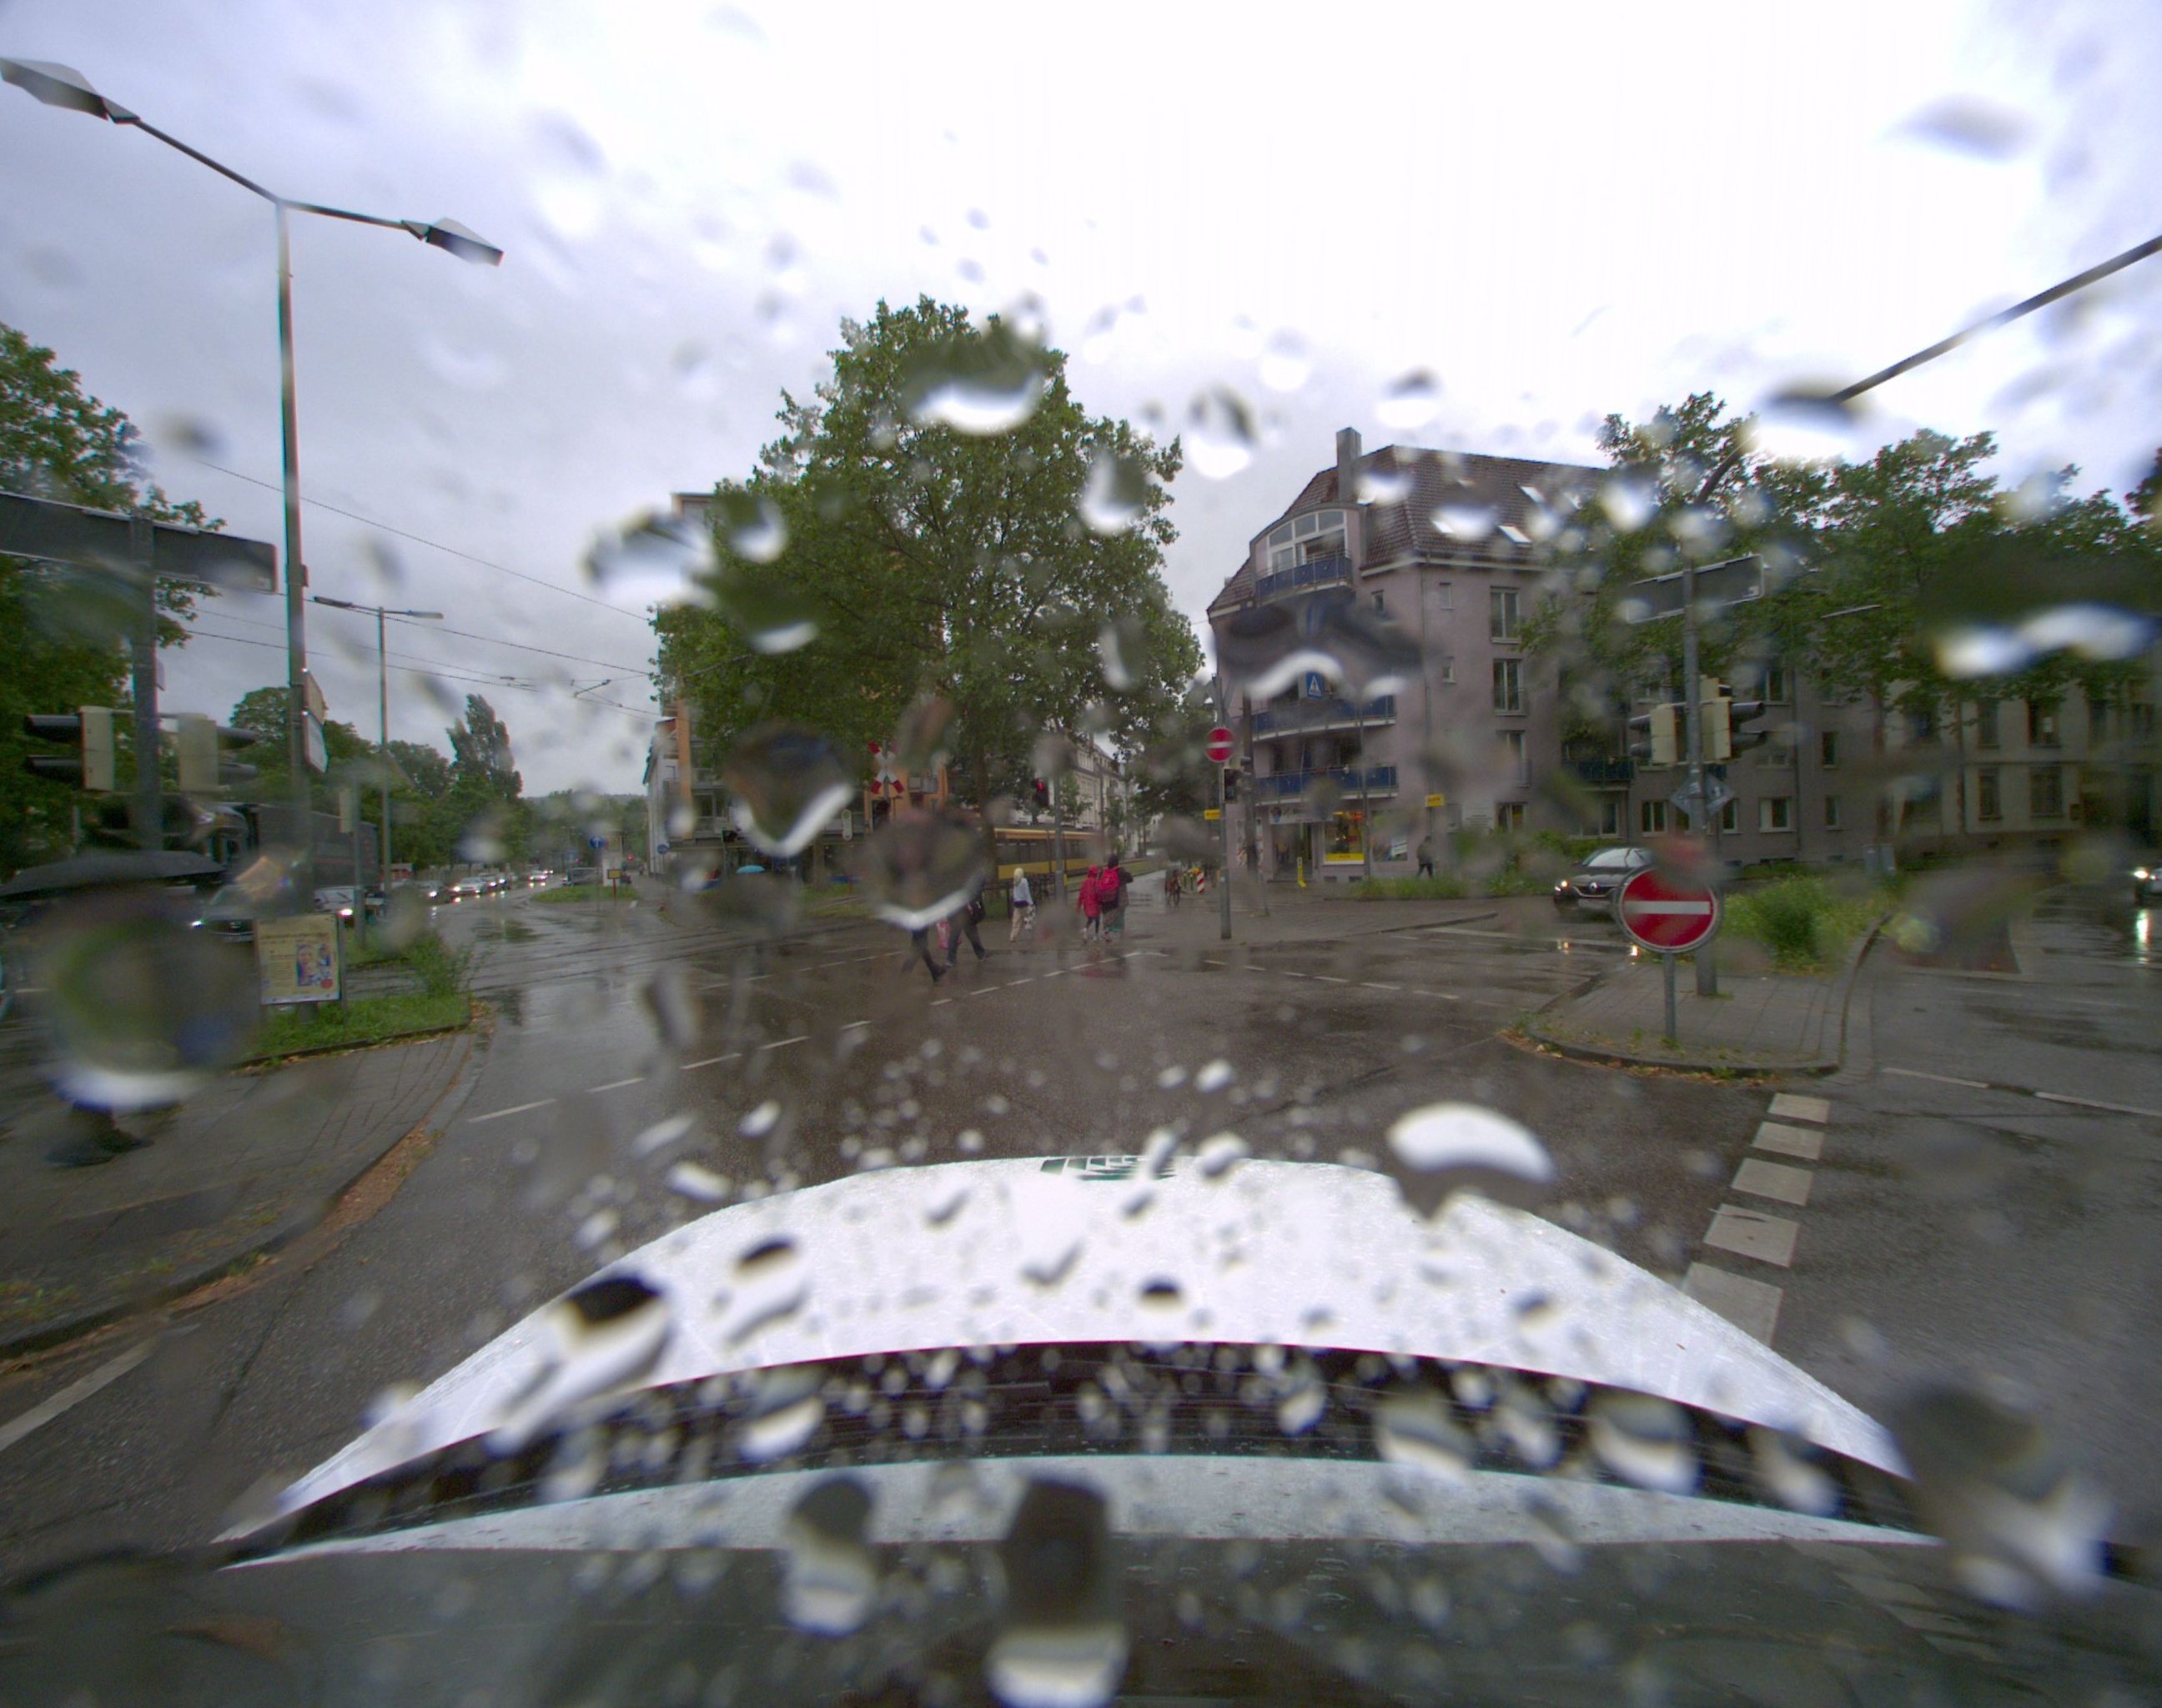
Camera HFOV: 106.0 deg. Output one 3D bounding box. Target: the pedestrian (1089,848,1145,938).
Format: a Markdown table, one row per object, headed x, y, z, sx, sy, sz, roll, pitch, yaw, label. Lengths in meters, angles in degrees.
| x | y | z | sx | sy | sz | roll | pitch | yaw | label |
| --- | --- | --- | --- | --- | --- | --- | --- | --- | --- |
| 0.652 | 0.693 | 14.702 | 0.684 | 1.547 | 0.766 | -2 | 1 | 27 | pedestrian |

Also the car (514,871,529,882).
| x | y | z | sx | sy | sz | roll | pitch | yaw | label |
| --- | --- | --- | --- | --- | --- | --- | --- | --- | --- |
| -85.758 | 3.420 | 124.847 | 1.789 | 1.530 | 3.956 | -1 | 1 | -37 | car |

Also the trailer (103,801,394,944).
| x | y | z | sx | sy | sz | roll | pitch | yaw | label |
| --- | --- | --- | --- | --- | --- | --- | --- | --- | --- |
| -29.841 | 0.536 | 30.481 | 3.464 | 4.048 | 14.906 | -3 | 1 | -30 | trailer |

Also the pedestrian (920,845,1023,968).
| x | y | z | sx | sy | sz | roll | pitch | yaw | label |
| --- | --- | --- | --- | --- | --- | --- | --- | --- | --- |
| -1.617 | 0.736 | 12.061 | 0.983 | 1.686 | 1.062 | -2 | 1 | 43 | pedestrian |

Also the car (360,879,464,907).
| x | y | z | sx | sy | sz | roll | pitch | yaw | label |
| --- | --- | --- | --- | --- | --- | --- | --- | --- | --- |
| -42.373 | 2.446 | 51.661 | 4.893 | 1.454 | 2.087 | -2 | 1 | 2 | car |

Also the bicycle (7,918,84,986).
| x | y | z | sx | sy | sz | roll | pitch | yaw | label |
| --- | --- | --- | --- | --- | --- | --- | --- | --- | --- |
| -18.367 | 1.714 | 14.478 | 0.536 | 1.024 | 1.851 | -3 | 1 | -43 | bicycle |

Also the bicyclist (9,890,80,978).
| x | y | z | sx | sy | sz | roll | pitch | yaw | label |
| --- | --- | --- | --- | --- | --- | --- | --- | --- | --- |
| -18.361 | 1.389 | 14.441 | 0.584 | 1.461 | 0.999 | -3 | 1 | -43 | bicyclist |

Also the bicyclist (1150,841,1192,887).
| x | y | z | sx | sy | sz | roll | pitch | yaw | label |
| --- | --- | --- | --- | --- | --- | --- | --- | --- | --- |
| 2.715 | 0.295 | 24.689 | 0.744 | 1.309 | 1.067 | -3 | 1 | -28 | bicyclist |

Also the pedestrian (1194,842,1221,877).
| x | y | z | sx | sy | sz | roll | pitch | yaw | label |
| --- | --- | --- | --- | --- | --- | --- | --- | --- | --- |
| 6.379 | 0.259 | 41.058 | 0.943 | 1.697 | 0.927 | -2 | 1 | 35 | pedestrian |

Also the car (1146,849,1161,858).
| x | y | z | sx | sy | sz | roll | pitch | yaw | label |
| --- | --- | --- | --- | --- | --- | --- | --- | --- | --- |
| 10.875 | -0.087 | 121.760 | 1.981 | 1.397 | 4.011 | -2 | 0 | 10 | car |

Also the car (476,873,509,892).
| x | y | z | sx | sy | sz | roll | pitch | yaw | label |
| --- | --- | --- | --- | --- | --- | --- | --- | --- | --- |
| -55.364 | 2.625 | 76.702 | 1.925 | 1.639 | 4.777 | -1 | 0 | -28 | car |

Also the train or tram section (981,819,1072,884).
| x | y | z | sx | sy | sz | roll | pitch | yaw | label |
| --- | --- | --- | --- | --- | --- | --- | --- | --- | --- |
| -2.927 | -0.154 | 46.849 | 2.618 | 3.351 | 8.409 | -2 | 0 | 14 | train or tram section |

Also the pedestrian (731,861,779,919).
| x | y | z | sx | sy | sz | roll | pitch | yaw | label |
| --- | --- | --- | --- | --- | --- | --- | --- | --- | --- |
| -11.094 | 1.186 | 27.698 | 1.180 | 1.865 | 1.369 | -1 | 1 | -39 | pedestrian |

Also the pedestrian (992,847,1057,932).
| x | y | z | sx | sy | sz | roll | pitch | yaw | label |
| --- | --- | --- | --- | --- | --- | --- | --- | --- | --- |
| -1.056 | 0.663 | 15.472 | 0.869 | 1.525 | 1.069 | -2 | 1 | 16 | pedestrian |

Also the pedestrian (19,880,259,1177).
| x | y | z | sx | sy | sz | roll | pitch | yaw | label |
| --- | --- | --- | --- | --- | --- | --- | --- | --- | --- |
| -5.735 | 0.978 | 5.019 | 0.634 | 1.581 | 0.869 | -2 | 1 | 43 | pedestrian |

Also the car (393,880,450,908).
| x | y | z | sx | sy | sz | roll | pitch | yaw | label |
| --- | --- | --- | --- | --- | --- | --- | --- | --- | --- |
| -38.277 | 2.264 | 47.381 | 1.737 | 1.361 | 4.298 | -3 | 1 | -28 | car |

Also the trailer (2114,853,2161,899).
| x | y | z | sx | sy | sz | roll | pitch | yaw | label |
| --- | --- | --- | --- | --- | --- | --- | --- | --- | --- |
| 21.394 | 0.430 | 16.161 | 1.489 | 0.842 | 1.016 | -2 | 0 | -35 | trailer |

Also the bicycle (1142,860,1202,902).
| x | y | z | sx | sy | sz | roll | pitch | yaw | label |
| --- | --- | --- | --- | --- | --- | --- | --- | --- | --- |
| 2.725 | 0.801 | 24.715 | 0.755 | 1.173 | 2.023 | -3 | 1 | -28 | bicycle |

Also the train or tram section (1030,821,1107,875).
| x | y | z | sx | sy | sz | roll | pitch | yaw | label |
| --- | --- | --- | --- | --- | --- | --- | --- | --- | --- |
| -0.656 | -0.432 | 55.809 | 2.618 | 3.351 | 10.026 | -2 | 0 | 14 | train or tram section |

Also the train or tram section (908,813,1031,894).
| x | y | z | sx | sy | sz | roll | pitch | yaw | label |
| --- | --- | --- | --- | --- | --- | --- | --- | --- | --- |
| -5.037 | -0.062 | 38.719 | 2.618 | 3.369 | 8.410 | -2 | 0 | 15 | train or tram section |

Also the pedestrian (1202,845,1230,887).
| x | y | z | sx | sy | sz | roll | pitch | yaw | label |
| --- | --- | --- | --- | --- | --- | --- | --- | --- | --- |
| 5.294 | 0.468 | 31.918 | 0.984 | 1.559 | 0.787 | -2 | 0 | 13 | pedestrian |

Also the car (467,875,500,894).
| x | y | z | sx | sy | sz | roll | pitch | yaw | label |
| --- | --- | --- | --- | --- | --- | --- | --- | --- | --- |
| -51.955 | 2.611 | 70.843 | 1.790 | 1.420 | 4.224 | -3 | 1 | -30 | car |

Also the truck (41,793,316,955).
| x | y | z | sx | sy | sz | roll | pitch | yaw | label |
| --- | --- | --- | --- | --- | --- | --- | --- | --- | --- |
| -26.432 | 0.489 | 24.445 | 3.472 | 4.078 | 6.907 | -2 | 0 | -30 | truck |

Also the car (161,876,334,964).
| x | y | z | sx | sy | sz | roll | pitch | yaw | label |
| --- | --- | --- | --- | --- | --- | --- | --- | --- | --- |
| -19.893 | 1.467 | 19.702 | 2.089 | 1.682 | 4.876 | 1 | 0 | -36 | car |

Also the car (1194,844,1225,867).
| x | y | z | sx | sy | sz | roll | pitch | yaw | label |
| --- | --- | --- | --- | --- | --- | --- | --- | --- | --- |
| 10.004 | 0.108 | 63.188 | 1.980 | 1.673 | 4.014 | -2 | 0 | 13 | car |

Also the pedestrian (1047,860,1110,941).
| x | y | z | sx | sy | sz | roll | pitch | yaw | label |
| --- | --- | --- | --- | --- | --- | --- | --- | --- | --- |
| -0.037 | 0.827 | 14.833 | 0.665 | 1.381 | 1.017 | -2 | 1 | 30 | pedestrian |

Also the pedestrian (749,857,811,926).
| x | y | z | sx | sy | sz | roll | pitch | yaw | label |
| --- | --- | --- | --- | --- | --- | --- | --- | --- | --- |
| -8.292 | 1.012 | 22.435 | 1.221 | 1.788 | 1.045 | -2 | 0 | 36 | pedestrian |

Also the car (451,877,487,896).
| x | y | z | sx | sy | sz | roll | pitch | yaw | label |
| --- | --- | --- | --- | --- | --- | --- | --- | --- | --- |
| -48.391 | 2.526 | 64.489 | 1.786 | 1.403 | 4.781 | -1 | 0 | -31 | car |

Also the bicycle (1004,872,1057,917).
| x | y | z | sx | sy | sz | roll | pitch | yaw | label |
| --- | --- | --- | --- | --- | --- | --- | --- | --- | --- |
| -1.319 | 1.044 | 21.415 | 0.440 | 1.077 | 1.629 | -2 | 0 | 35 | bicycle |

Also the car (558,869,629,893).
| x | y | z | sx | sy | sz | roll | pitch | yaw | label |
| --- | --- | --- | --- | --- | --- | --- | --- | --- | --- |
| -37.269 | 2.041 | 62.350 | 4.562 | 1.470 | 1.964 | -3 | 0 | -30 | car |

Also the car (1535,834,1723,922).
| x | y | z | sx | sy | sz | roll | pitch | yaw | label |
| --- | --- | --- | --- | --- | --- | --- | --- | --- | --- |
| 11.007 | 0.392 | 16.262 | 4.199 | 1.461 | 1.971 | -2 | 1 | -39 | car |

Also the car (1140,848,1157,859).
| x | y | z | sx | sy | sz | roll | pitch | yaw | label |
| --- | --- | --- | --- | --- | --- | --- | --- | --- | --- |
| 9.655 | -0.045 | 116.074 | 1.981 | 1.533 | 4.011 | -2 | 0 | 10 | car |

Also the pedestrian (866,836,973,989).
| x | y | z | sx | sy | sz | roll | pitch | yaw | label |
| --- | --- | --- | --- | --- | --- | --- | --- | --- | --- |
| -2.006 | 0.694 | 10.214 | 0.802 | 1.781 | 1.000 | -2 | 1 | 26 | pedestrian |

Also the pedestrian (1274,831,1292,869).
| x | y | z | sx | sy | sz | roll | pitch | yaw | label |
| --- | --- | --- | --- | --- | --- | --- | --- | --- | --- |
| 8.635 | -0.171 | 34.802 | 0.467 | 1.602 | 0.597 | -2 | 0 | 39 | pedestrian |

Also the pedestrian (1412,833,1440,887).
| x | y | z | sx | sy | sz | roll | pitch | yaw | label |
| --- | --- | --- | --- | --- | --- | --- | --- | --- | --- |
| 11.877 | 0.198 | 28.039 | 0.625 | 1.803 | 0.635 | -3 | 1 | -42 | pedestrian |

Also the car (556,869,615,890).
| x | y | z | sx | sy | sz | roll | pitch | yaw | label |
| --- | --- | --- | --- | --- | --- | --- | --- | --- | --- |
| -42.370 | 2.183 | 69.689 | 4.218 | 1.568 | 1.870 | -2 | 0 | -32 | car |

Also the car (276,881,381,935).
| x | y | z | sx | sy | sz | roll | pitch | yaw | label |
| --- | --- | --- | --- | --- | --- | --- | --- | --- | --- |
| -23.306 | 1.605 | 25.372 | 1.710 | 1.373 | 4.057 | -2 | 1 | -33 | car |
